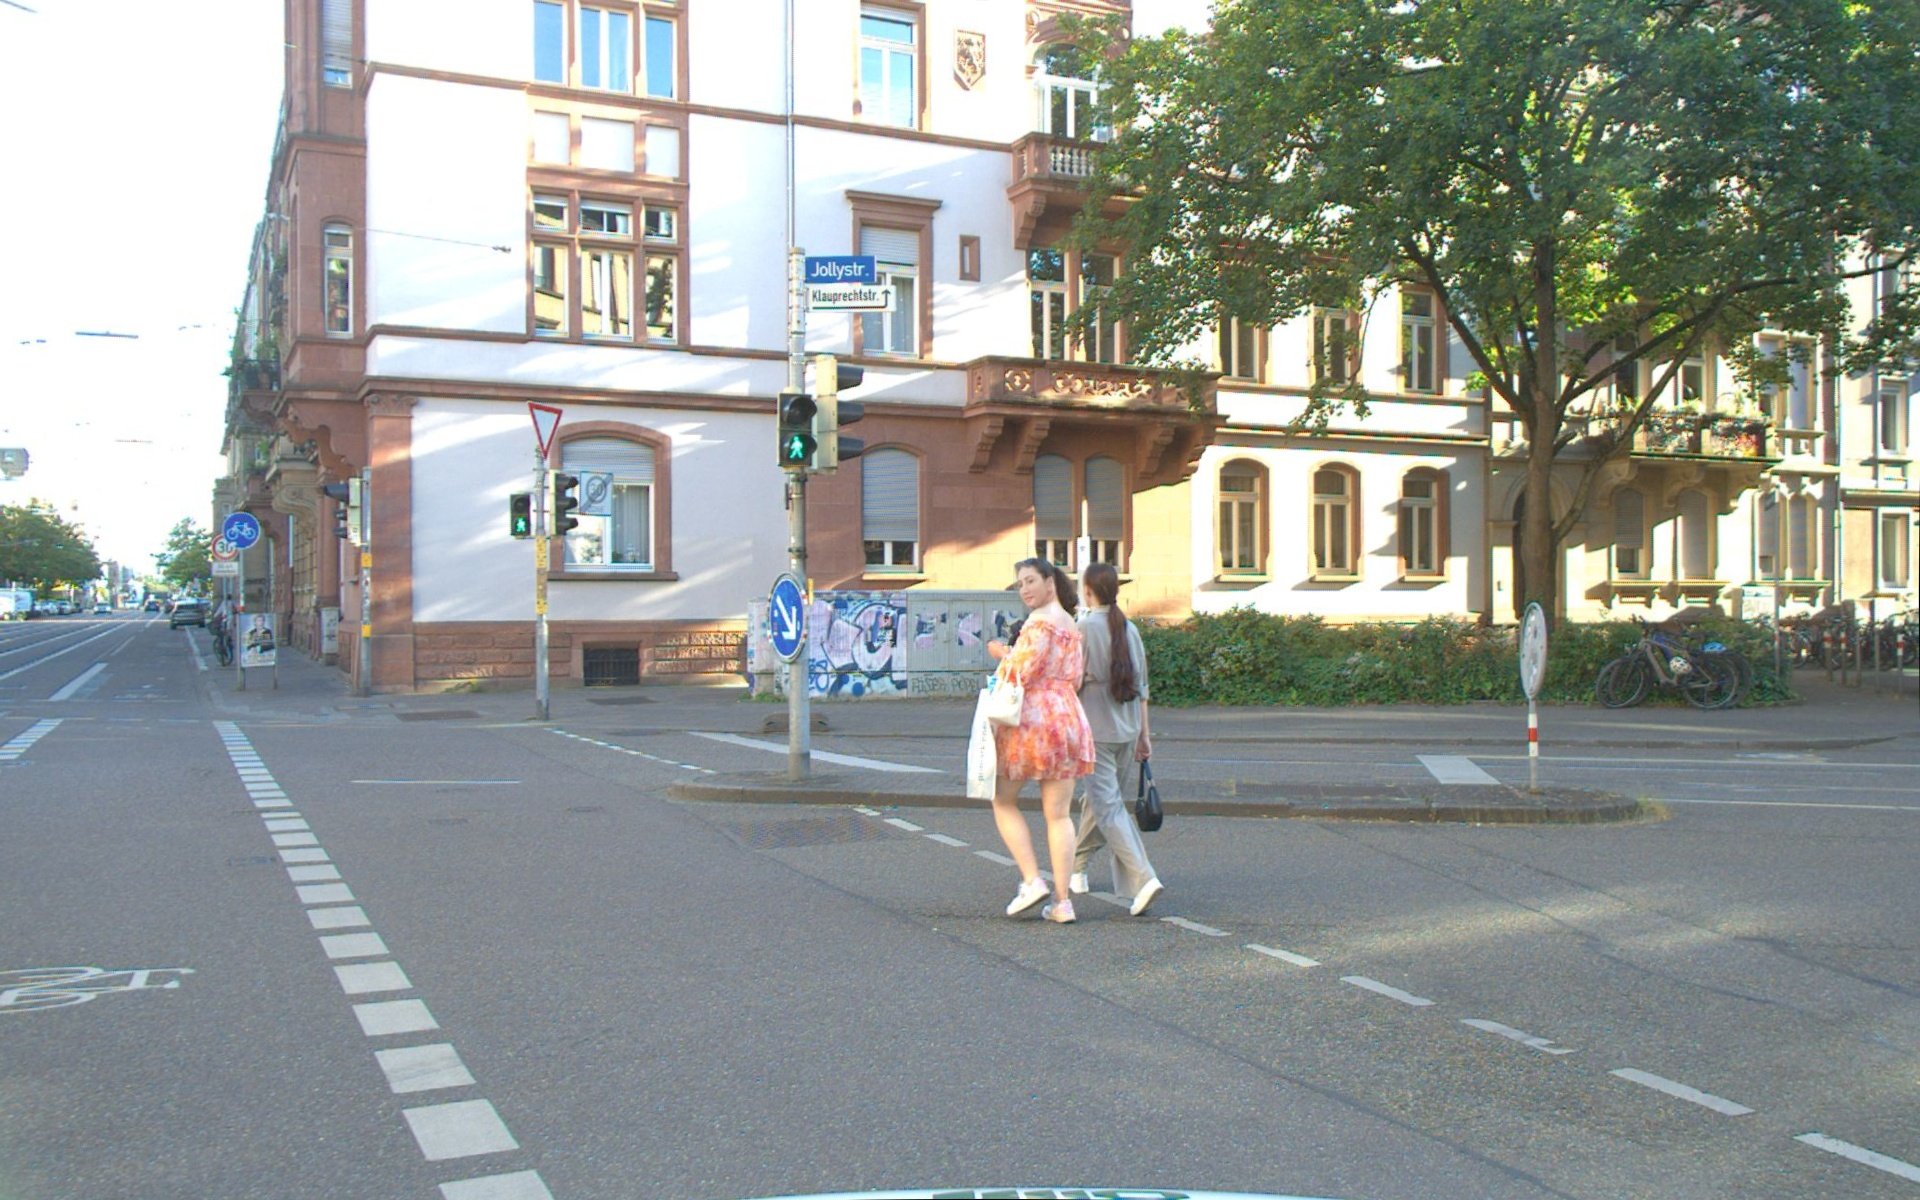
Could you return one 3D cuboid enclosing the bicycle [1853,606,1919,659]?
[{"bbox_3d":[22.262,0.739,38.170,0.740,1.201,3.112,0,0,-25],"label":"bicycle"}]

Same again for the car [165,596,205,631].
[{"bbox_3d":[-46.800,0.800,99.957,1.966,2.049,3.973,0,0,-22],"label":"car"}]

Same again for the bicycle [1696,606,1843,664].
[{"bbox_3d":[17.559,0.728,35.992,0.740,1.201,3.112,0,0,-25],"label":"bicycle"}]

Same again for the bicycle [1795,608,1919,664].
[{"bbox_3d":[20.482,0.789,37.355,0.740,1.201,3.112,0,0,-25],"label":"bicycle"}]

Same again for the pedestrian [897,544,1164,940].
[{"bbox_3d":[0.326,0.619,7.880,0.860,1.727,0.972,0,0,-36],"label":"pedestrian"}]

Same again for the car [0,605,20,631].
[{"bbox_3d":[-77.247,1.442,130.988,4.678,2.049,2.273,0,0,-24],"label":"car"}]

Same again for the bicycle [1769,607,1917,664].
[{"bbox_3d":[19.712,0.772,37.042,0.740,1.201,3.112,0,0,-25],"label":"bicycle"}]

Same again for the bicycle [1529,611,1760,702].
[{"bbox_3d":[9.407,0.767,22.825,2.886,1.217,0.548,0,0,14],"label":"bicycle"}]

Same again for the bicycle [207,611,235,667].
[{"bbox_3d":[-17.097,0.885,38.248,0.511,1.235,1.991,0,0,-27],"label":"bicycle"}]

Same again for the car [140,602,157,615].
[{"bbox_3d":[-111.329,1.162,226.870,1.970,1.722,3.964,0,0,-28],"label":"car"}]

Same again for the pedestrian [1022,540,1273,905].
[{"bbox_3d":[0.951,0.580,8.493,0.860,1.727,0.972,0,0,-36],"label":"pedestrian"}]

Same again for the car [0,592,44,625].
[{"bbox_3d":[-80.228,0.682,139.461,2.477,2.732,4.735,-1,0,38],"label":"car"}]

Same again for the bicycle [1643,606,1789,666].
[{"bbox_3d":[16.056,0.739,35.268,0.740,1.201,3.112,0,0,-25],"label":"bicycle"}]

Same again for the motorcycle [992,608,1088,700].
[{"bbox_3d":[1.154,0.764,24.458,0.826,1.287,2.102,0,0,-15],"label":"motorcycle"}]

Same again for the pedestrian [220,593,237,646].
[{"bbox_3d":[-25.941,0.690,58.663,0.485,1.843,0.624,0,0,-21],"label":"pedestrian"}]

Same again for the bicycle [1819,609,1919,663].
[{"bbox_3d":[21.229,0.806,37.725,0.740,1.201,3.112,0,0,-25],"label":"bicycle"}]

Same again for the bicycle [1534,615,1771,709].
[{"bbox_3d":[9.272,0.828,22.244,2.886,1.217,0.548,0,0,14],"label":"bicycle"}]

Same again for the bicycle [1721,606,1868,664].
[{"bbox_3d":[18.265,0.741,36.318,0.740,1.201,3.112,0,0,-25],"label":"bicycle"}]

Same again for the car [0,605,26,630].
[{"bbox_3d":[-78.348,1.433,133.696,4.678,2.049,2.507,0,0,-24],"label":"car"}]

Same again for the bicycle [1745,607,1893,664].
[{"bbox_3d":[18.999,0.757,36.683,0.740,1.201,3.112,0,0,-25],"label":"bicycle"}]
